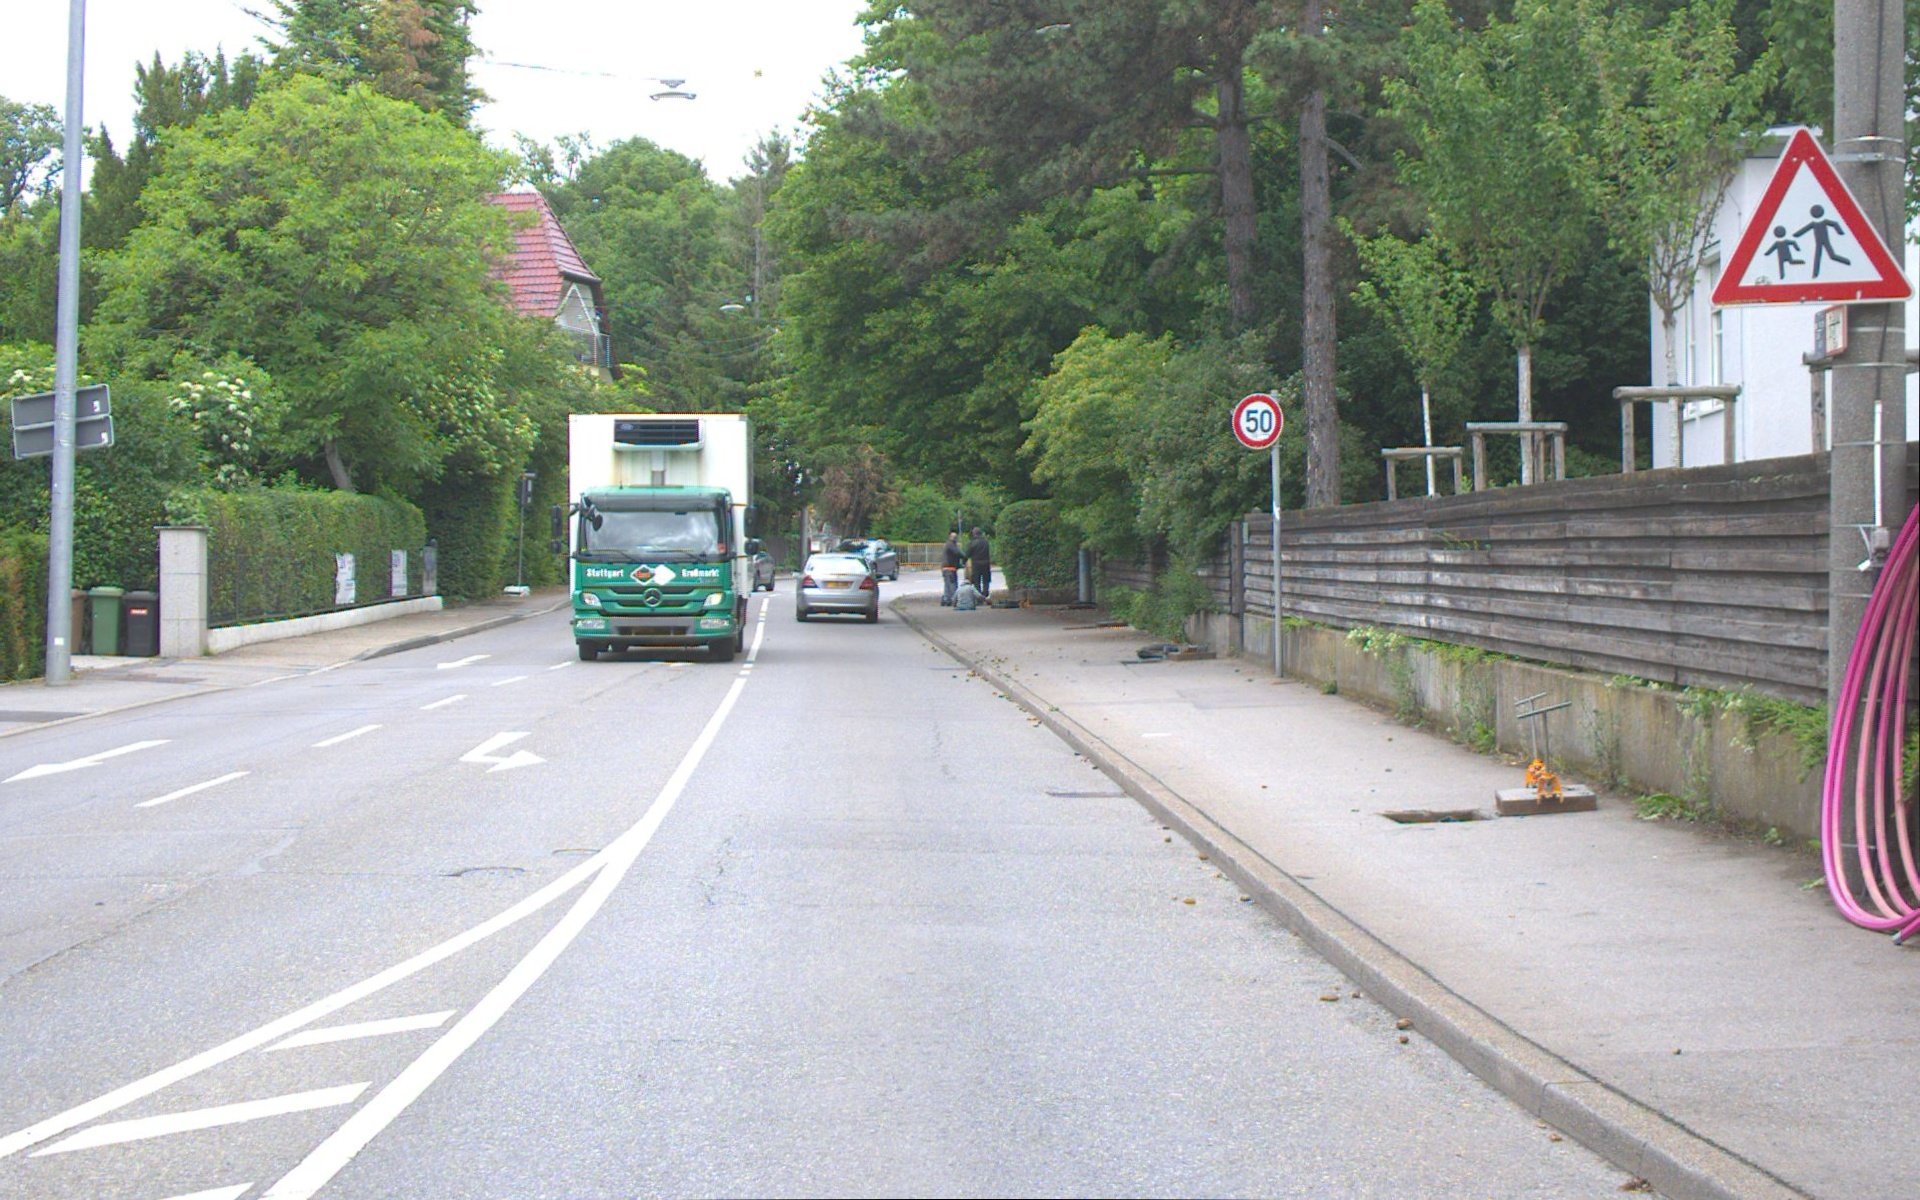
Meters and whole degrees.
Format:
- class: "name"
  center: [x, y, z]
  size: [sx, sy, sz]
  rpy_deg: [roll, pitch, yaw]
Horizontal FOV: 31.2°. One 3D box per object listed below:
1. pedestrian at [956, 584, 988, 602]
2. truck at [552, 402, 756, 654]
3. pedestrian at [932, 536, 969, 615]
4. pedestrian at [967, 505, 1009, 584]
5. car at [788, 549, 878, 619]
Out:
- class: "pedestrian"
  center: [0.271, -0.153, 76.893]
  size: [0.672, 0.392, 0.741]
  rpy_deg: [0, 1, -3]
- class: "truck"
  center: [-4.495, -0.980, 50.977]
  size: [2.777, 3.449, 7.495]
  rpy_deg: [0, 0, -4]
- class: "pedestrian"
  center: [-0.219, -0.563, 79.182]
  size: [0.807, 1.801, 0.741]
  rpy_deg: [0, 1, -3]
- class: "pedestrian"
  center: [0.652, -1.270, 79.025]
  size: [0.689, 1.801, 0.673]
  rpy_deg: [-1, 1, -43]
- class: "car"
  center: [-2.641, -0.318, 72.276]
  size: [1.797, 1.410, 4.336]
  rpy_deg: [0, 0, -1]
